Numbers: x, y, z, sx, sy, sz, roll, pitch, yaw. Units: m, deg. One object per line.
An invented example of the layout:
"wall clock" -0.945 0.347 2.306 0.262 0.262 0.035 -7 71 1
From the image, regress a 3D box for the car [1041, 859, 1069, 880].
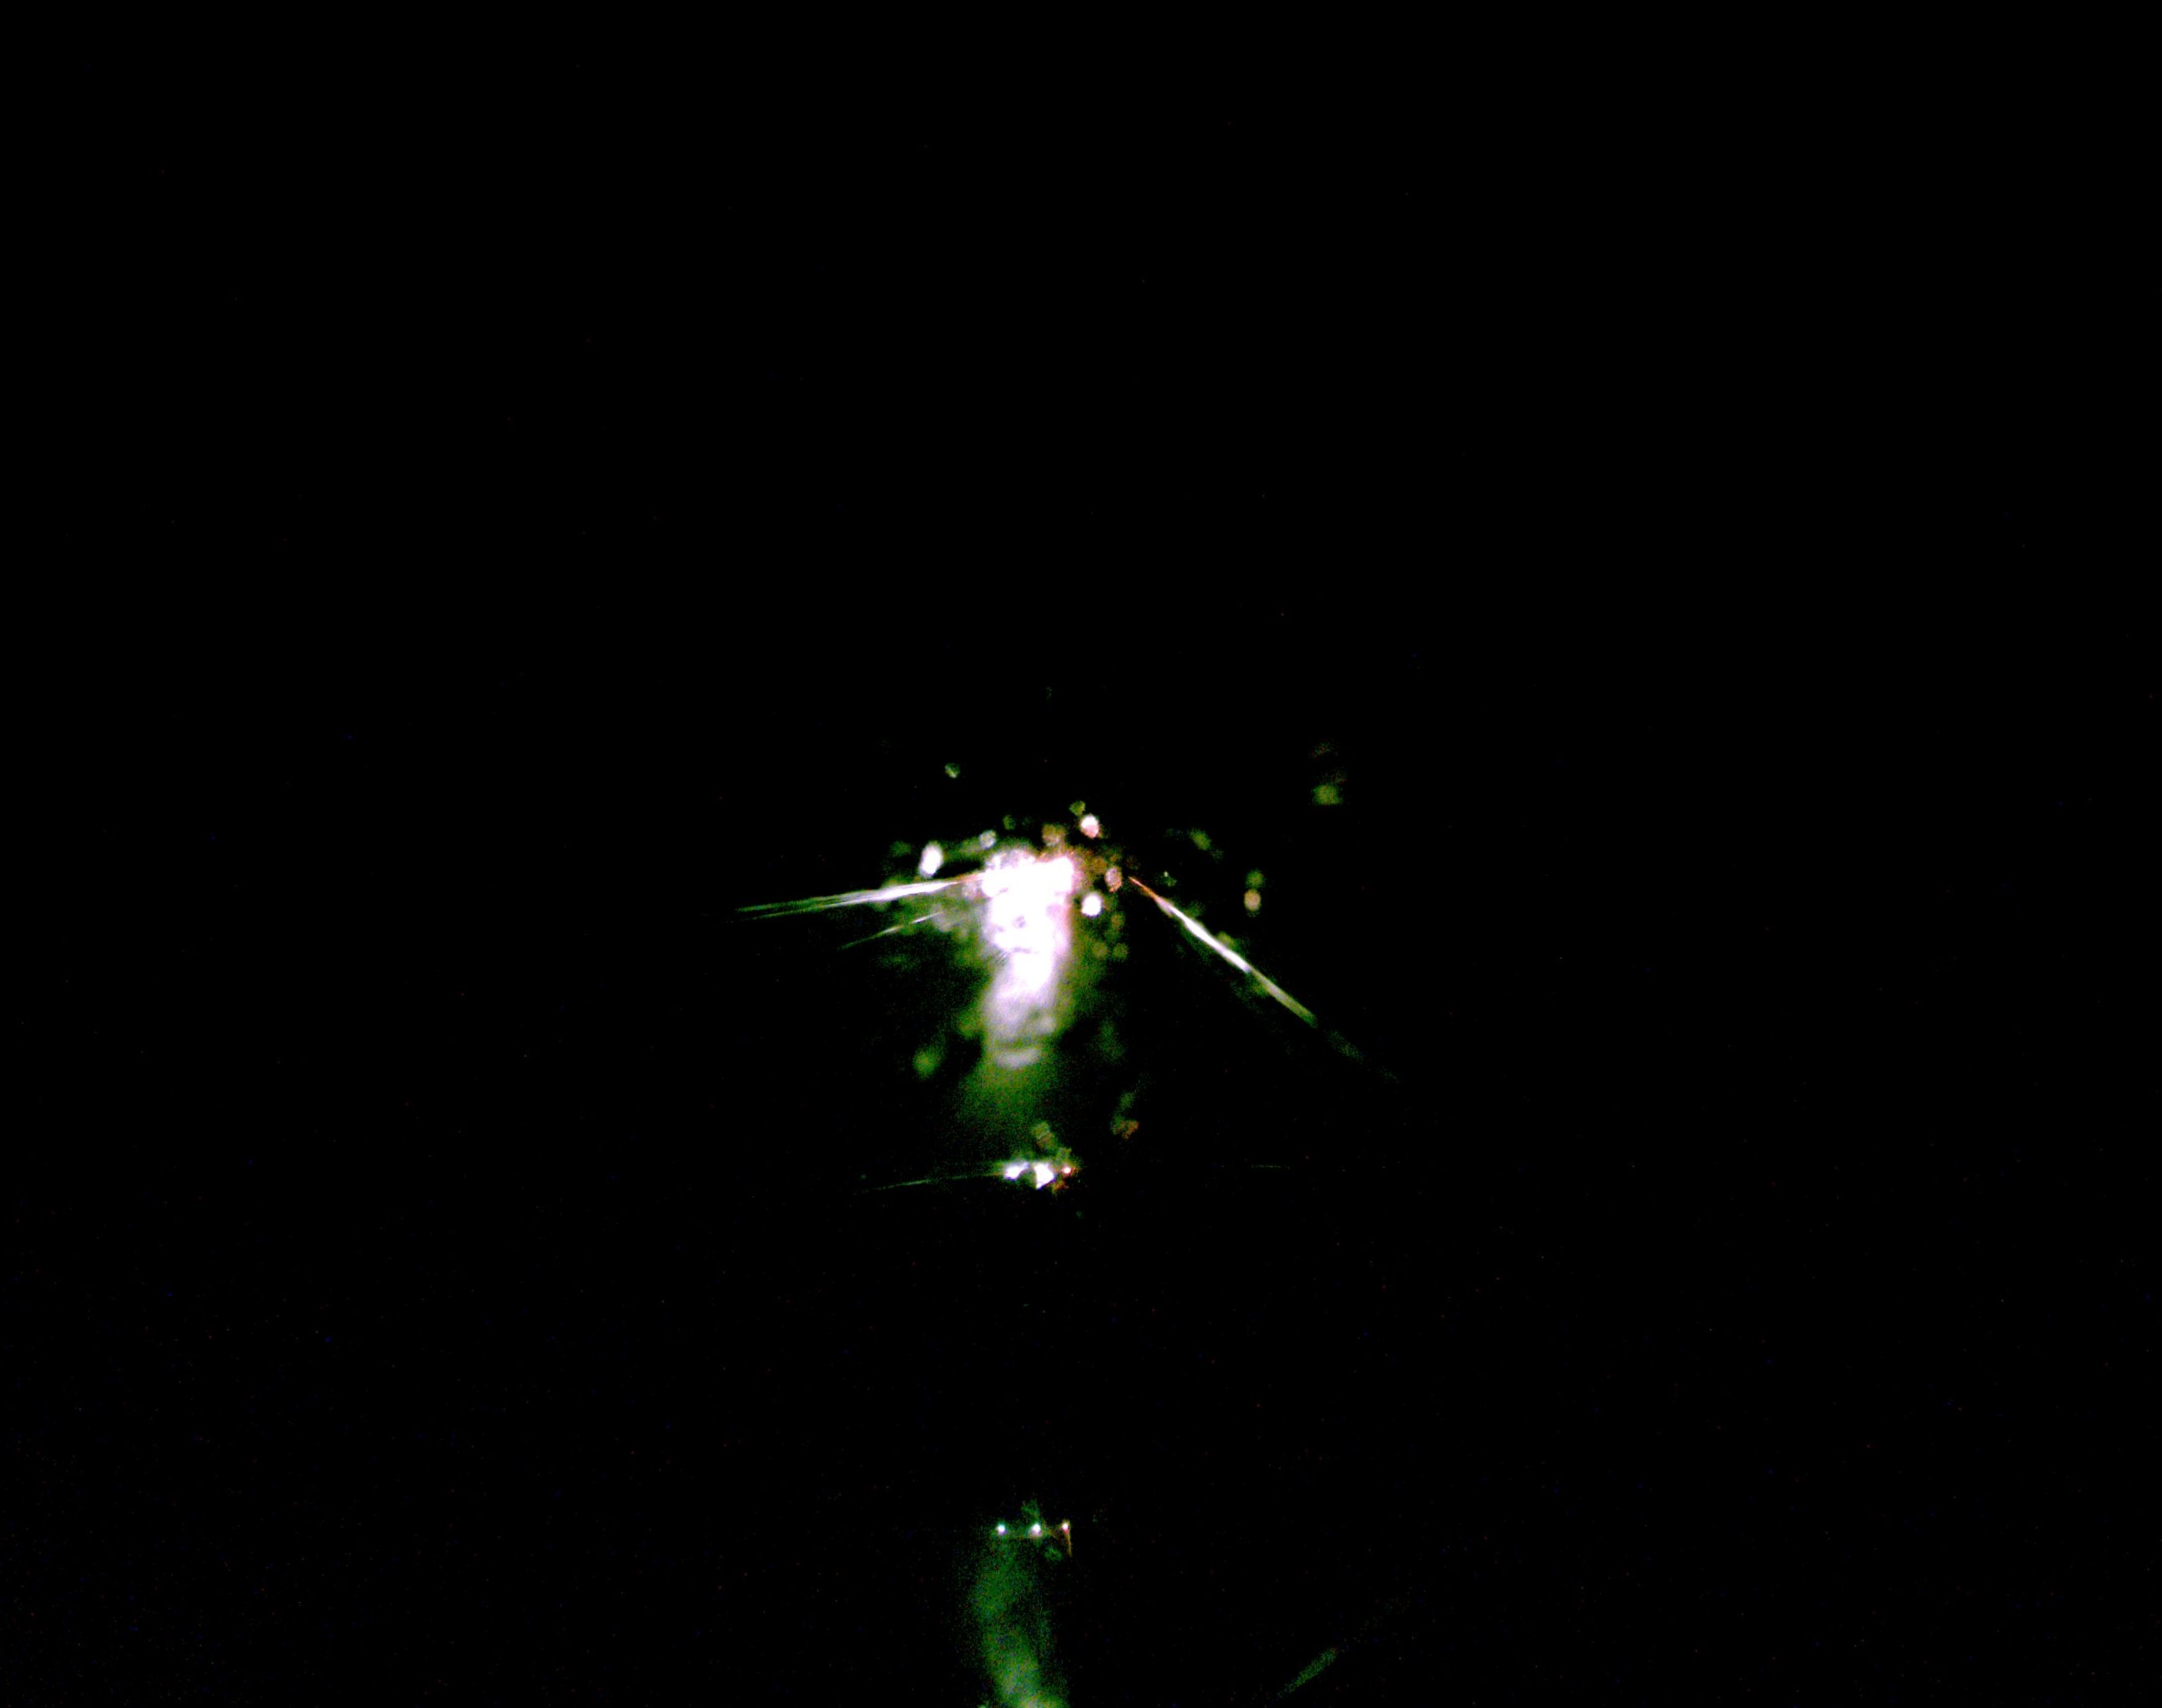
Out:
"car" -2.029 1.189 64.204 1.848 1.521 4.683 0 0 2

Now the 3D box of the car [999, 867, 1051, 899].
"car" -2.612 1.350 38.938 1.967 1.462 4.285 0 -1 3
